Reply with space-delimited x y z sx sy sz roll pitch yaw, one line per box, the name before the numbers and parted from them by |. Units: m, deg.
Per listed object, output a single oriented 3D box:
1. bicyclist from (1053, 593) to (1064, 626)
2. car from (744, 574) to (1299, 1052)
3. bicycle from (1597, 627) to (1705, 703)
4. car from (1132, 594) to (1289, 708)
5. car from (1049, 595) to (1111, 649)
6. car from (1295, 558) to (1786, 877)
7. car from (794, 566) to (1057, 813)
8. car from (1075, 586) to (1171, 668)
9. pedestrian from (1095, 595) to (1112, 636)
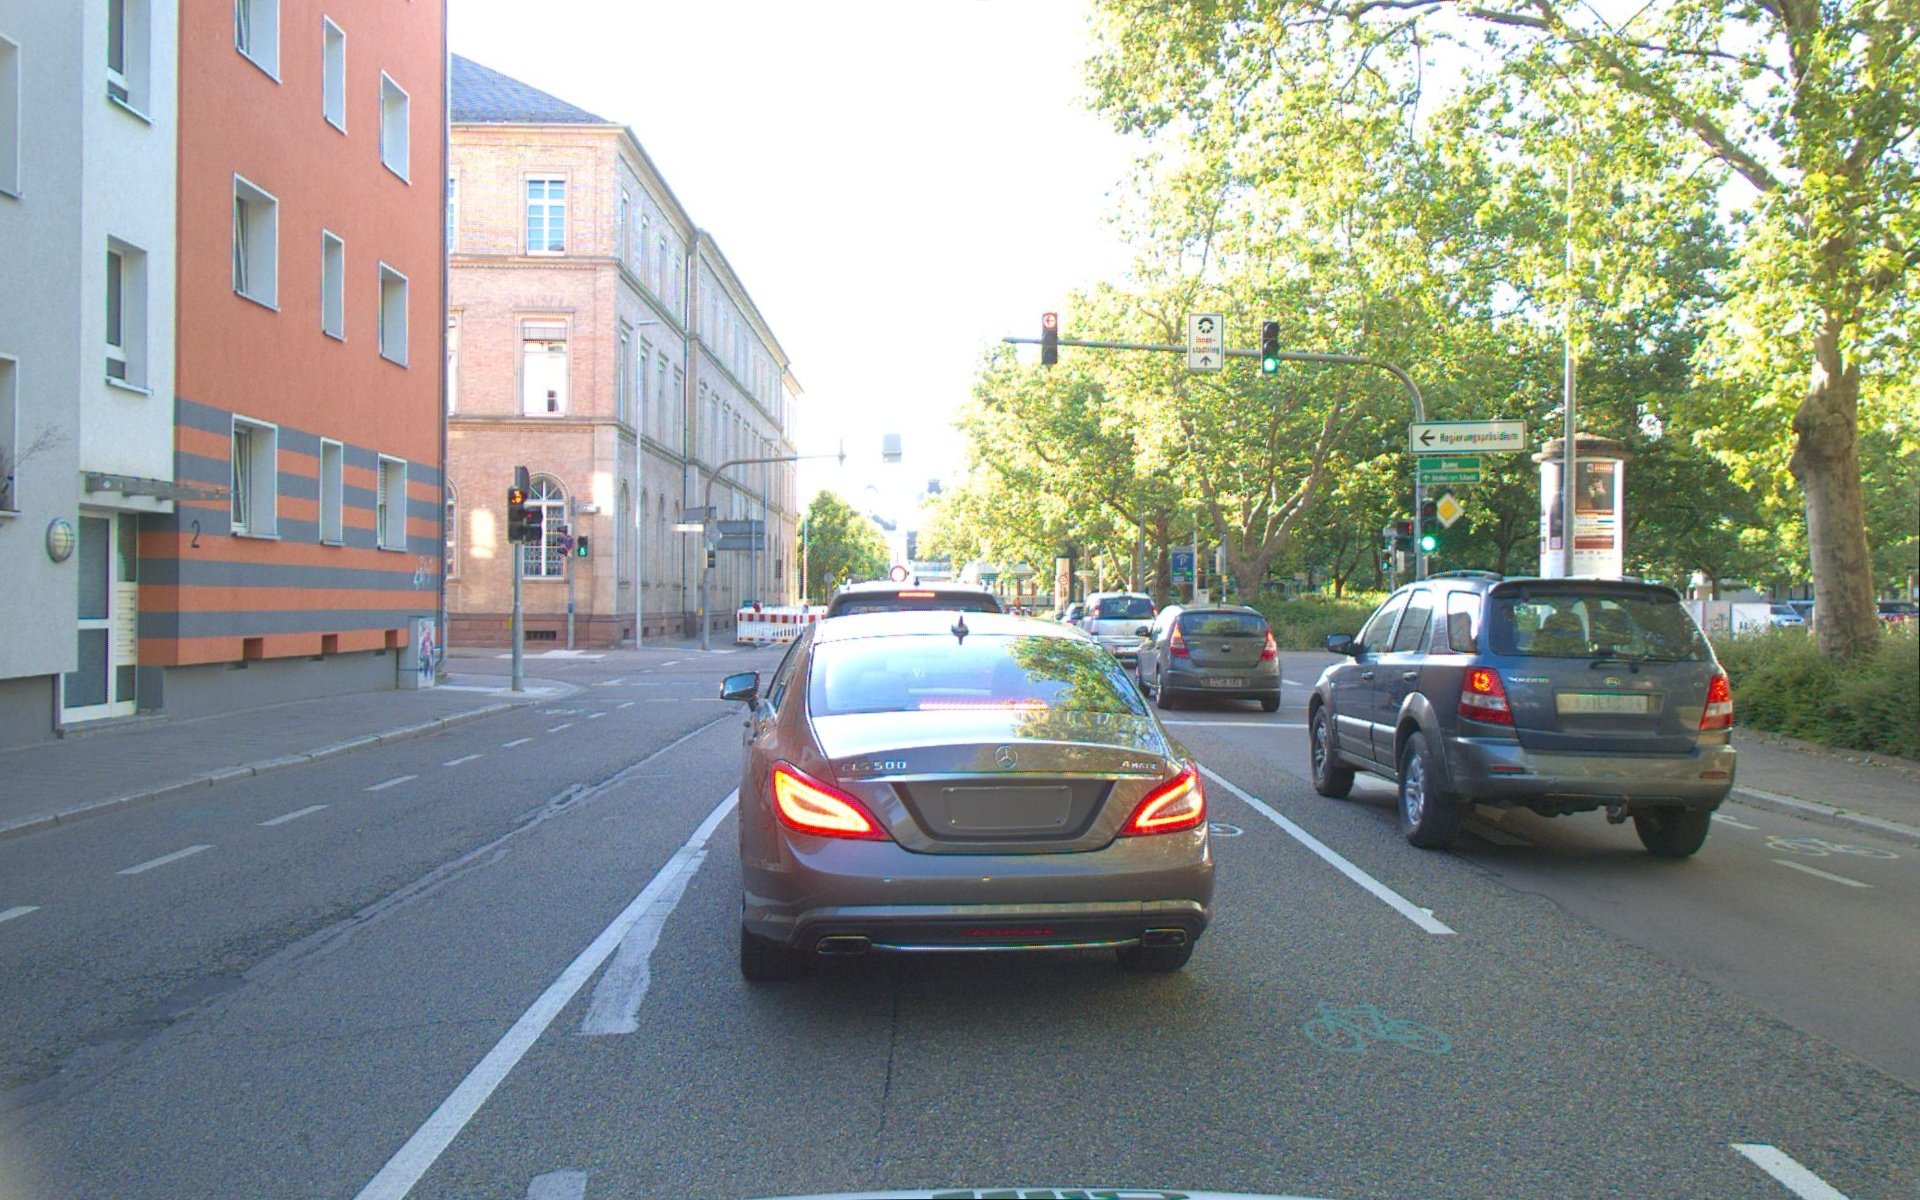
bicyclist | 6.246 0.604 105.133 0.583 2.075 0.565 1 -1 -5
car | -0.031 0.690 7.473 1.826 1.545 3.993 1 0 -8
bicycle | 9.977 0.926 23.854 1.868 1.046 0.633 1 -1 -39
car | 3.652 0.699 24.740 1.670 1.545 3.999 1 0 -1
car | 3.685 0.661 51.350 1.568 1.576 3.680 1 0 -1
car | 3.771 0.665 11.672 1.823 1.794 4.481 1 0 -1
car | -0.268 0.620 13.601 1.823 1.712 3.999 1 0 -1
car | 3.553 0.581 36.622 1.696 1.691 3.680 1 0 -1
pedestrian | 6.214 0.668 71.568 0.623 1.791 0.698 1 -1 -5
